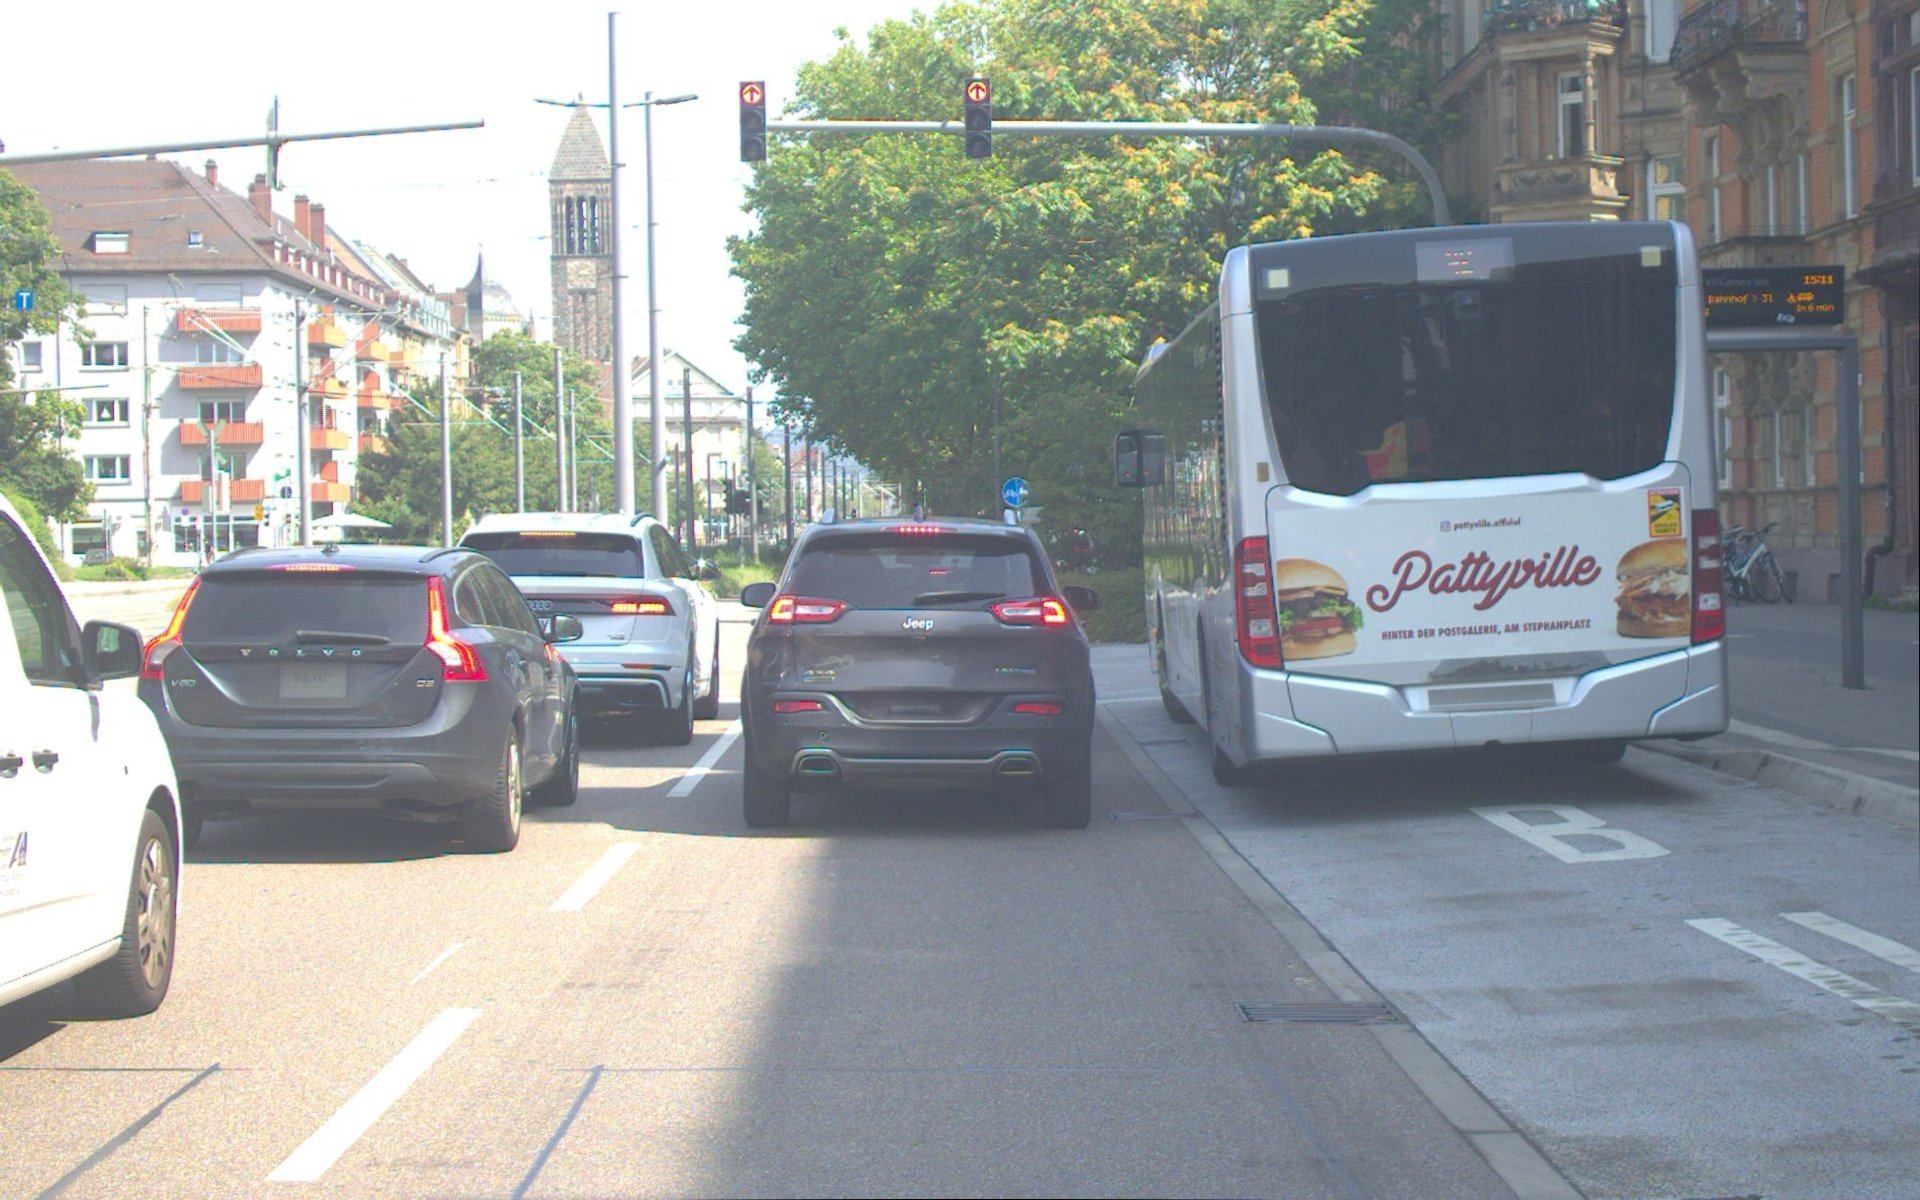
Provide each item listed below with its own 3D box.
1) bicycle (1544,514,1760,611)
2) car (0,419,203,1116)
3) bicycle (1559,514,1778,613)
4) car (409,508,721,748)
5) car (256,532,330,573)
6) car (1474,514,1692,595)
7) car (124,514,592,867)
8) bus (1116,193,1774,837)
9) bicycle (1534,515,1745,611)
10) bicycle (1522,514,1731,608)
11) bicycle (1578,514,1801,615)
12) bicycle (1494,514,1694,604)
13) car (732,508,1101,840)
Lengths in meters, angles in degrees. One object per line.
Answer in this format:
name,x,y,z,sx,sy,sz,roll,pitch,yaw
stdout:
bicycle,10.275,-0.560,51.097,2.993,1.366,0.871,-1,1,-1
car,-3.381,0.428,9.393,1.747,1.814,4.240,0,1,-1
bicycle,10.332,-0.541,50.185,2.993,1.366,0.871,-1,1,-1
car,-2.851,0.139,25.684,1.902,1.646,4.309,0,1,-1
car,-25.421,-1.812,131.203,1.746,1.430,4.573,-2,2,2
car,12.450,-0.919,68.775,3.931,1.515,1.683,-1,1,-8
car,-2.983,0.367,17.874,1.747,1.609,4.309,0,1,-1
bus,2.725,-0.543,23.353,2.743,3.096,11.956,-3,1,1
bicycle,10.280,-0.566,52.045,2.993,1.366,0.871,-1,1,-1
bicycle,10.262,-0.607,52.988,3.003,1.368,0.947,-1,1,-1
bicycle,10.444,-0.507,49.280,2.993,1.366,0.871,-1,1,-1
bicycle,10.146,-0.657,55.091,3.003,1.368,0.947,-1,1,-1
car,-0.212,0.318,19.309,1.832,1.646,4.308,0,1,0
